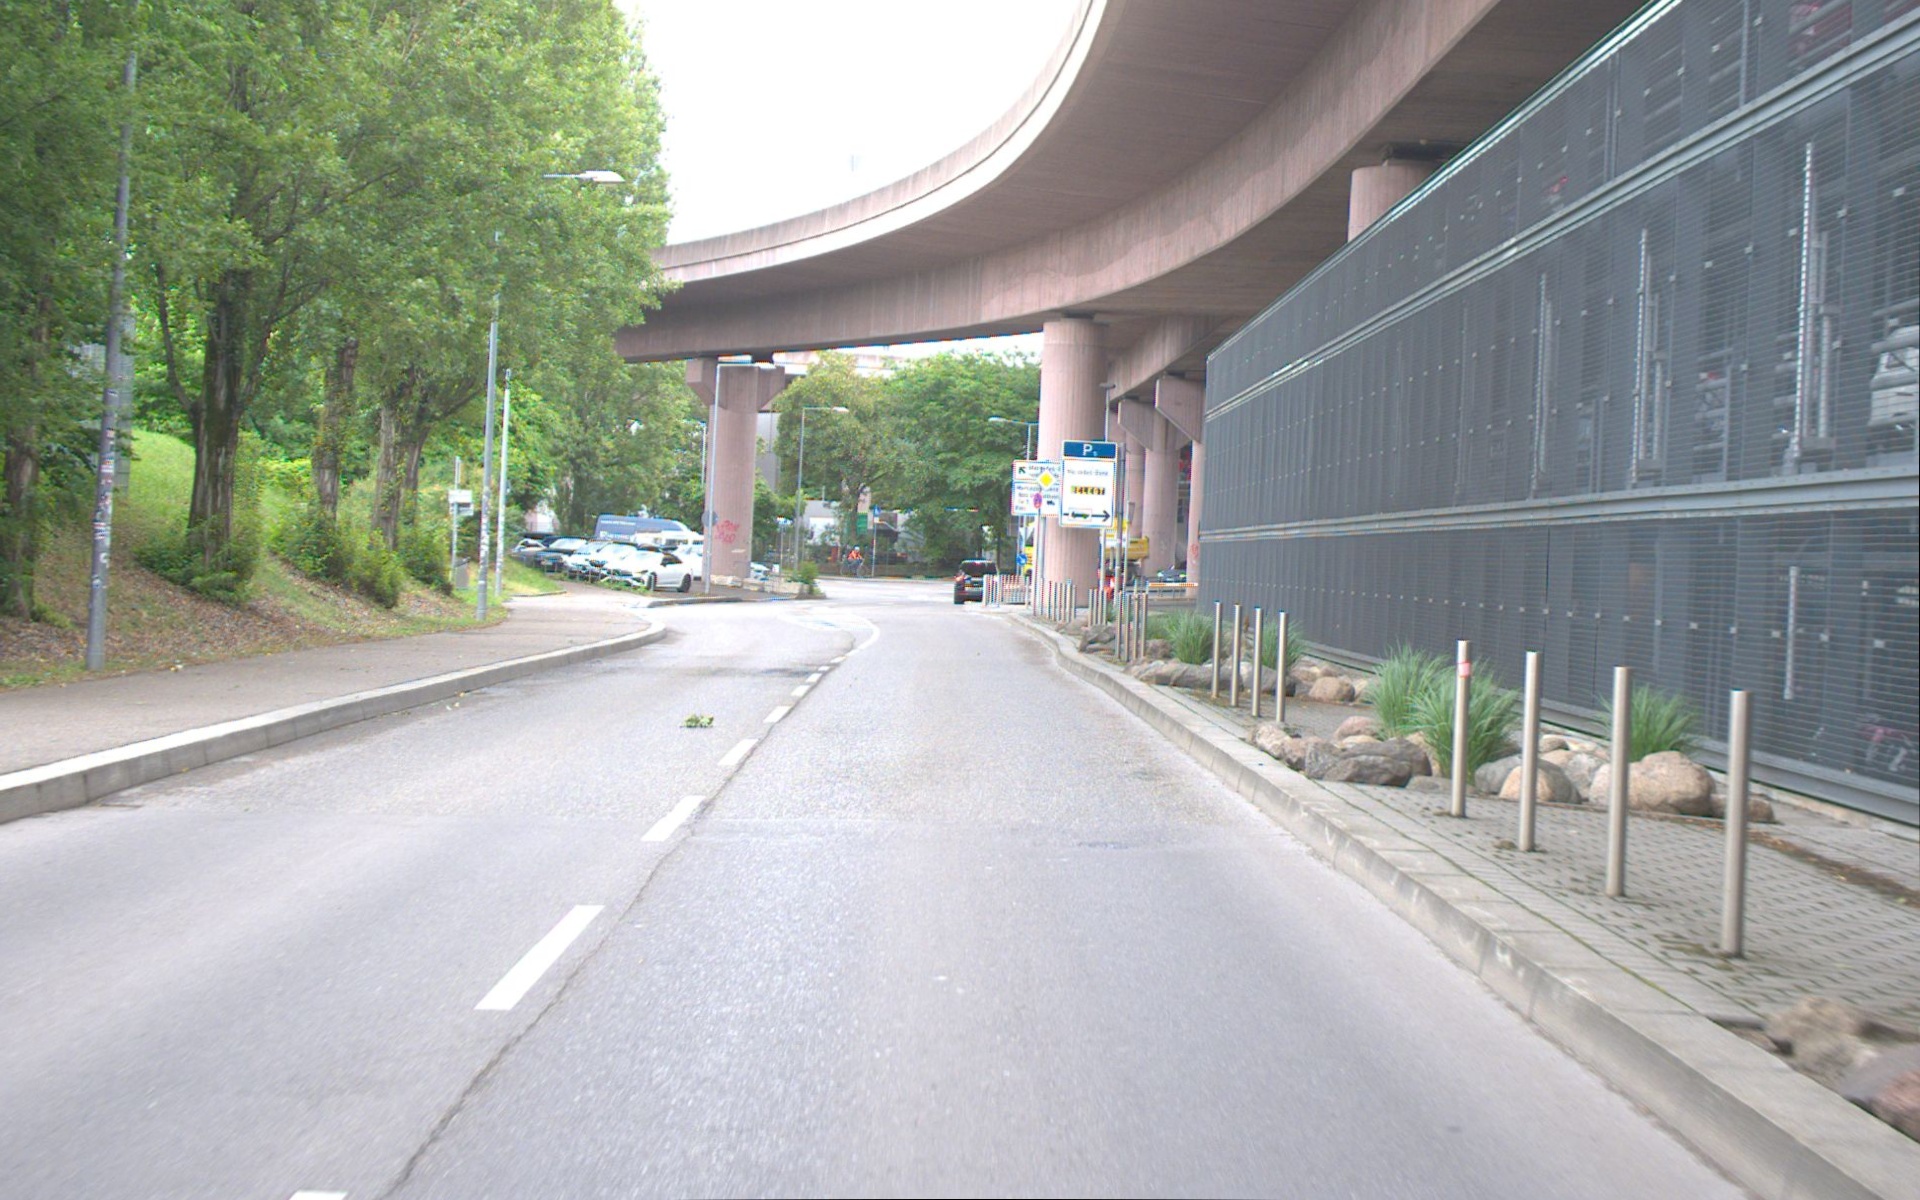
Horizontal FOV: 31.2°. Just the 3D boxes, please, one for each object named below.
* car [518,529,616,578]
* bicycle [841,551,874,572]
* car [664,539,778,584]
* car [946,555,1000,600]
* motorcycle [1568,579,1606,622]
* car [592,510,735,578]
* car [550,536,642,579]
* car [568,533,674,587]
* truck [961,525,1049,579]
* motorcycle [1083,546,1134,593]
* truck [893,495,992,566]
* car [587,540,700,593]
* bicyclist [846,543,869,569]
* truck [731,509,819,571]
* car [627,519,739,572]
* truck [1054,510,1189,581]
[{"bbox_3d":[-15.187,-1.783,133.011,1.859,1.685,4.158,3,0,24],"label":"car"},{"bbox_3d":[-5.570,-2.096,186.865,0.802,1.094,2.131,0,1,-31],"label":"bicycle"},{"bbox_3d":[-10.248,-1.650,147.478,4.383,1.600,1.953,5,1,13],"label":"car"},{"bbox_3d":[0.501,-0.893,135.487,1.993,1.673,4.561,2,1,-1],"label":"car"},{"bbox_3d":[18.913,0.002,103.741,0.571,1.101,2.330,2,5,-2],"label":"motorcycle"},{"bbox_3d":[-13.445,-2.549,156.058,6.175,2.715,2.368,3,1,0],"label":"car"},{"bbox_3d":[-13.754,-1.600,130.136,1.789,1.449,3.742,3,1,23],"label":"car"},{"bbox_3d":[-12.444,-1.455,126.463,1.996,1.577,4.395,7,1,21],"label":"car"},{"bbox_3d":[2.648,-2.847,203.291,2.914,2.889,6.561,1,3,-21],"label":"truck"},{"bbox_3d":[4.399,-0.907,102.041,0.795,1.362,2.130,1,1,-17],"label":"motorcycle"},{"bbox_3d":[-1.093,-4.127,201.915,3.065,3.854,8.051,1,3,-21],"label":"truck"},{"bbox_3d":[-11.261,-1.189,122.638,1.996,1.474,4.823,6,0,20],"label":"car"},{"bbox_3d":[-5.591,-2.407,186.901,0.796,1.400,1.066,0,1,-31],"label":"bicyclist"},{"bbox_3d":[-12.031,-3.919,222.484,3.054,3.606,7.918,1,3,-23],"label":"truck"},{"bbox_3d":[-12.329,-2.420,152.964,4.557,2.104,1.850,3,1,8],"label":"car"},{"bbox_3d":[8.820,-3.000,187.199,2.934,3.469,8.227,6,6,38],"label":"truck"}]
